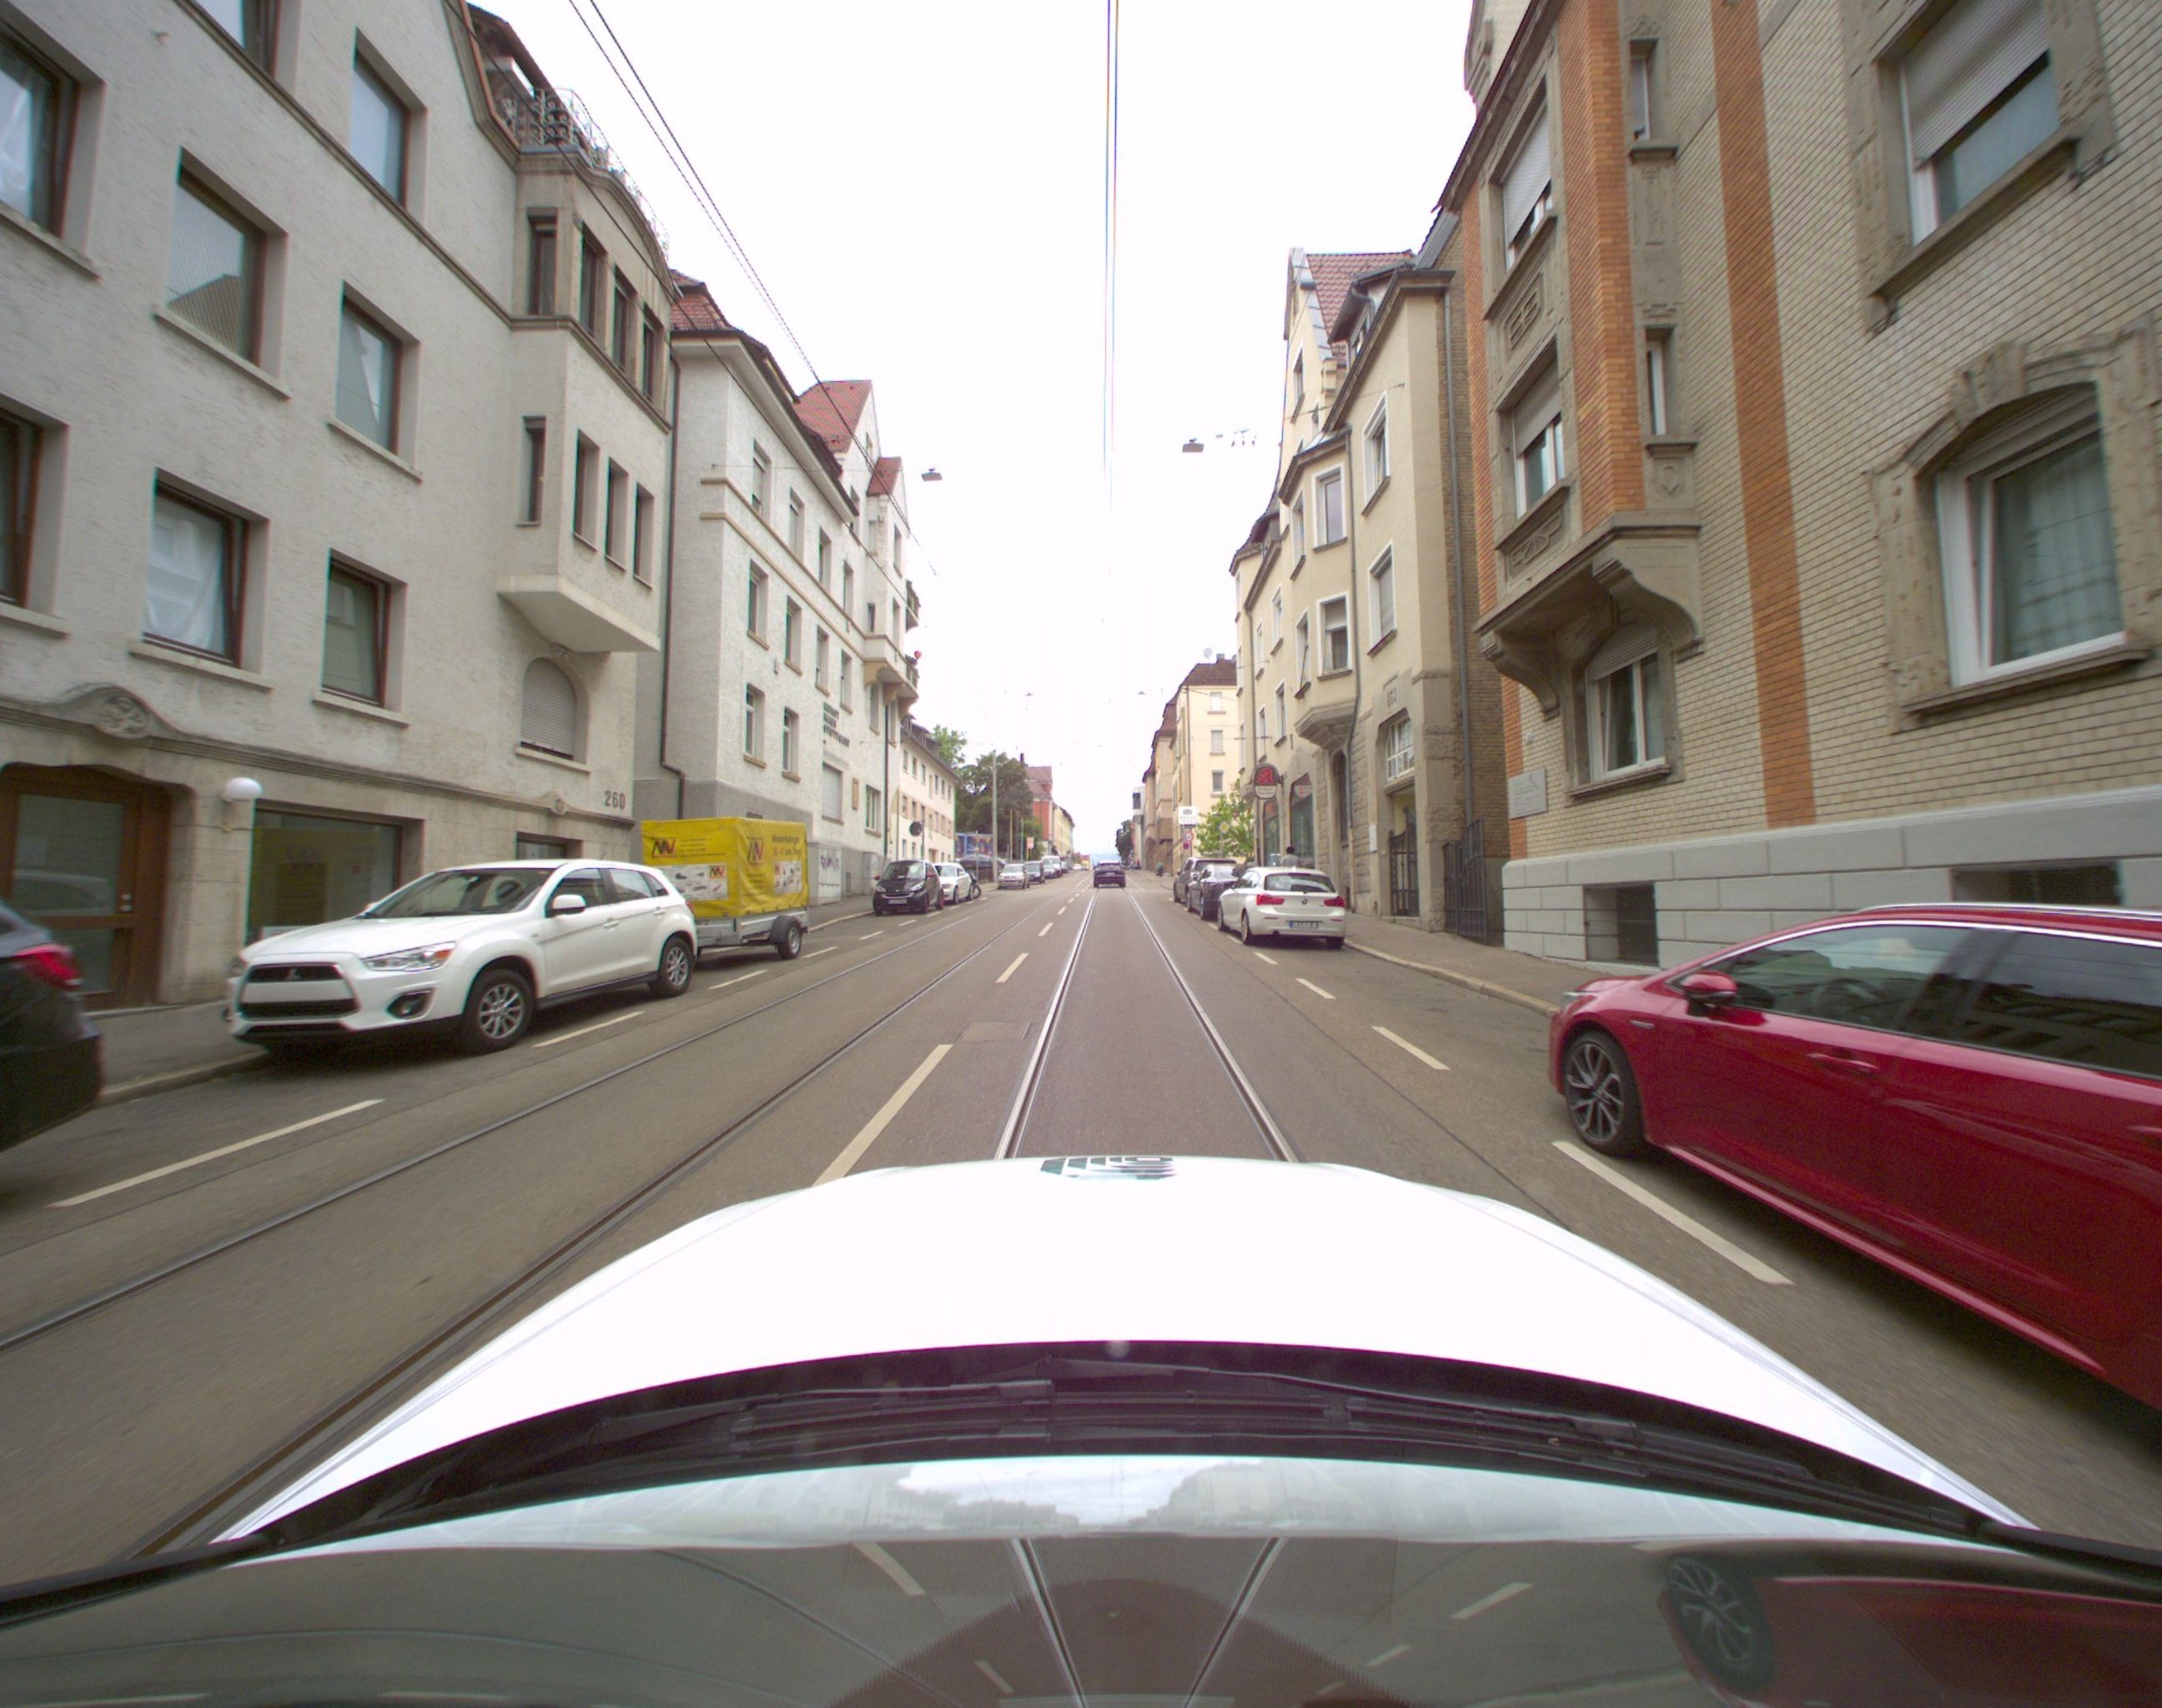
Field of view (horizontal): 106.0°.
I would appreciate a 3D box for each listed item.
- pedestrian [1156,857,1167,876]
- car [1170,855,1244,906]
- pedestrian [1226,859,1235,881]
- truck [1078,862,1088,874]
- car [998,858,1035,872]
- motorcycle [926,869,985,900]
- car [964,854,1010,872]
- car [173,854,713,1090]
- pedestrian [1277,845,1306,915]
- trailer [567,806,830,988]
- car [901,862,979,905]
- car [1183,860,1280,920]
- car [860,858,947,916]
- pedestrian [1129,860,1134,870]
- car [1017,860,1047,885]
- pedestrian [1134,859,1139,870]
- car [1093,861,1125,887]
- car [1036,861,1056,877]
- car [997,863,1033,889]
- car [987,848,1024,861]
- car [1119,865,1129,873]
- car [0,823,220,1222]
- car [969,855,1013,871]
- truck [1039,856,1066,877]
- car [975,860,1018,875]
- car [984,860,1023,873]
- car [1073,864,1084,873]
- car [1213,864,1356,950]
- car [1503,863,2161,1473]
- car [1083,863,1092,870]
[{"bbox_3d":[7.330,1.136,74.461,0.867,1.686,0.663,-2,-1,0],"label":"pedestrian"},{"bbox_3d":[4.139,0.830,27.371,1.729,1.537,4.572,1,0,0],"label":"car"},{"bbox_3d":[10.877,1.160,59.186,0.556,1.582,0.686,0,-1,2],"label":"pedestrian"},{"bbox_3d":[0.548,3.607,208.574,2.294,3.037,9.036,0,-1,2],"label":"truck"},{"bbox_3d":[-7.287,1.233,91.718,3.964,1.551,1.680,0,-1,-13],"label":"car"},{"bbox_3d":[-4.907,1.195,31.807,2.093,1.134,0.769,-2,0,15],"label":"motorcycle"},{"bbox_3d":[-8.734,0.821,76.096,4.046,1.552,1.688,1,-1,1],"label":"car"},{"bbox_3d":[-5.503,0.836,7.914,1.690,1.594,4.271,-3,0,2],"label":"car"},{"bbox_3d":[5.471,0.672,21.222,0.597,1.803,0.632,0,-1,1],"label":"pedestrian"},{"bbox_3d":[-5.344,0.532,12.067,1.742,2.155,4.073,-3,0,2],"label":"trailer"},{"bbox_3d":[-4.859,0.980,28.635,1.772,1.357,4.295,-1,0,3],"label":"car"},{"bbox_3d":[3.923,0.882,21.917,1.773,1.390,4.692,1,0,1],"label":"car"},{"bbox_3d":[-5.051,0.904,23.539,1.690,1.468,3.025,-3,-1,2],"label":"car"},{"bbox_3d":[8.162,1.733,131.290,0.788,1.667,0.799,-1,-1,4],"label":"pedestrian"},{"bbox_3d":[-3.718,1.382,62.381,1.736,1.736,4.523,-3,-1,3],"label":"car"},{"bbox_3d":[9.018,1.713,131.245,0.788,1.667,0.799,-1,-1,4],"label":"pedestrian"},{"bbox_3d":[1.829,1.241,52.270,1.986,1.563,4.292,0,0,2],"label":"car"},{"bbox_3d":[-3.443,1.469,80.449,1.691,1.433,4.481,-3,0,0],"label":"car"},{"bbox_3d":[-4.120,1.342,51.374,1.689,1.556,3.853,-1,-1,3],"label":"car"},{"bbox_3d":[-8.198,0.077,88.344,3.862,1.357,1.688,0,-1,1],"label":"car"},{"bbox_3d":[9.093,3.183,173.591,1.986,1.563,4.292,0,0,2],"label":"car"},{"bbox_3d":[-5.535,0.748,1.798,1.866,1.664,4.894,-3,0,2],"label":"car"},{"bbox_3d":[-8.635,0.871,78.379,4.046,1.524,1.739,0,-1,1],"label":"car"},{"bbox_3d":[-3.007,1.311,87.694,2.271,2.188,8.030,-1,0,3],"label":"truck"},{"bbox_3d":[-8.315,1.337,80.802,4.046,1.445,1.688,0,-1,1],"label":"car"},{"bbox_3d":[-8.108,1.325,85.758,3.862,1.357,1.688,0,-1,1],"label":"car"},{"bbox_3d":[-0.496,2.767,155.759,1.848,1.607,4.298,0,0,2],"label":"car"},{"bbox_3d":[3.789,0.915,15.923,1.744,1.390,4.307,1,0,1],"label":"car"},{"bbox_3d":[3.560,0.796,2.963,1.773,1.475,4.591,1,0,2],"label":"car"},{"bbox_3d":[1.481,2.890,188.349,1.848,1.607,4.298,0,0,2],"label":"car"}]
